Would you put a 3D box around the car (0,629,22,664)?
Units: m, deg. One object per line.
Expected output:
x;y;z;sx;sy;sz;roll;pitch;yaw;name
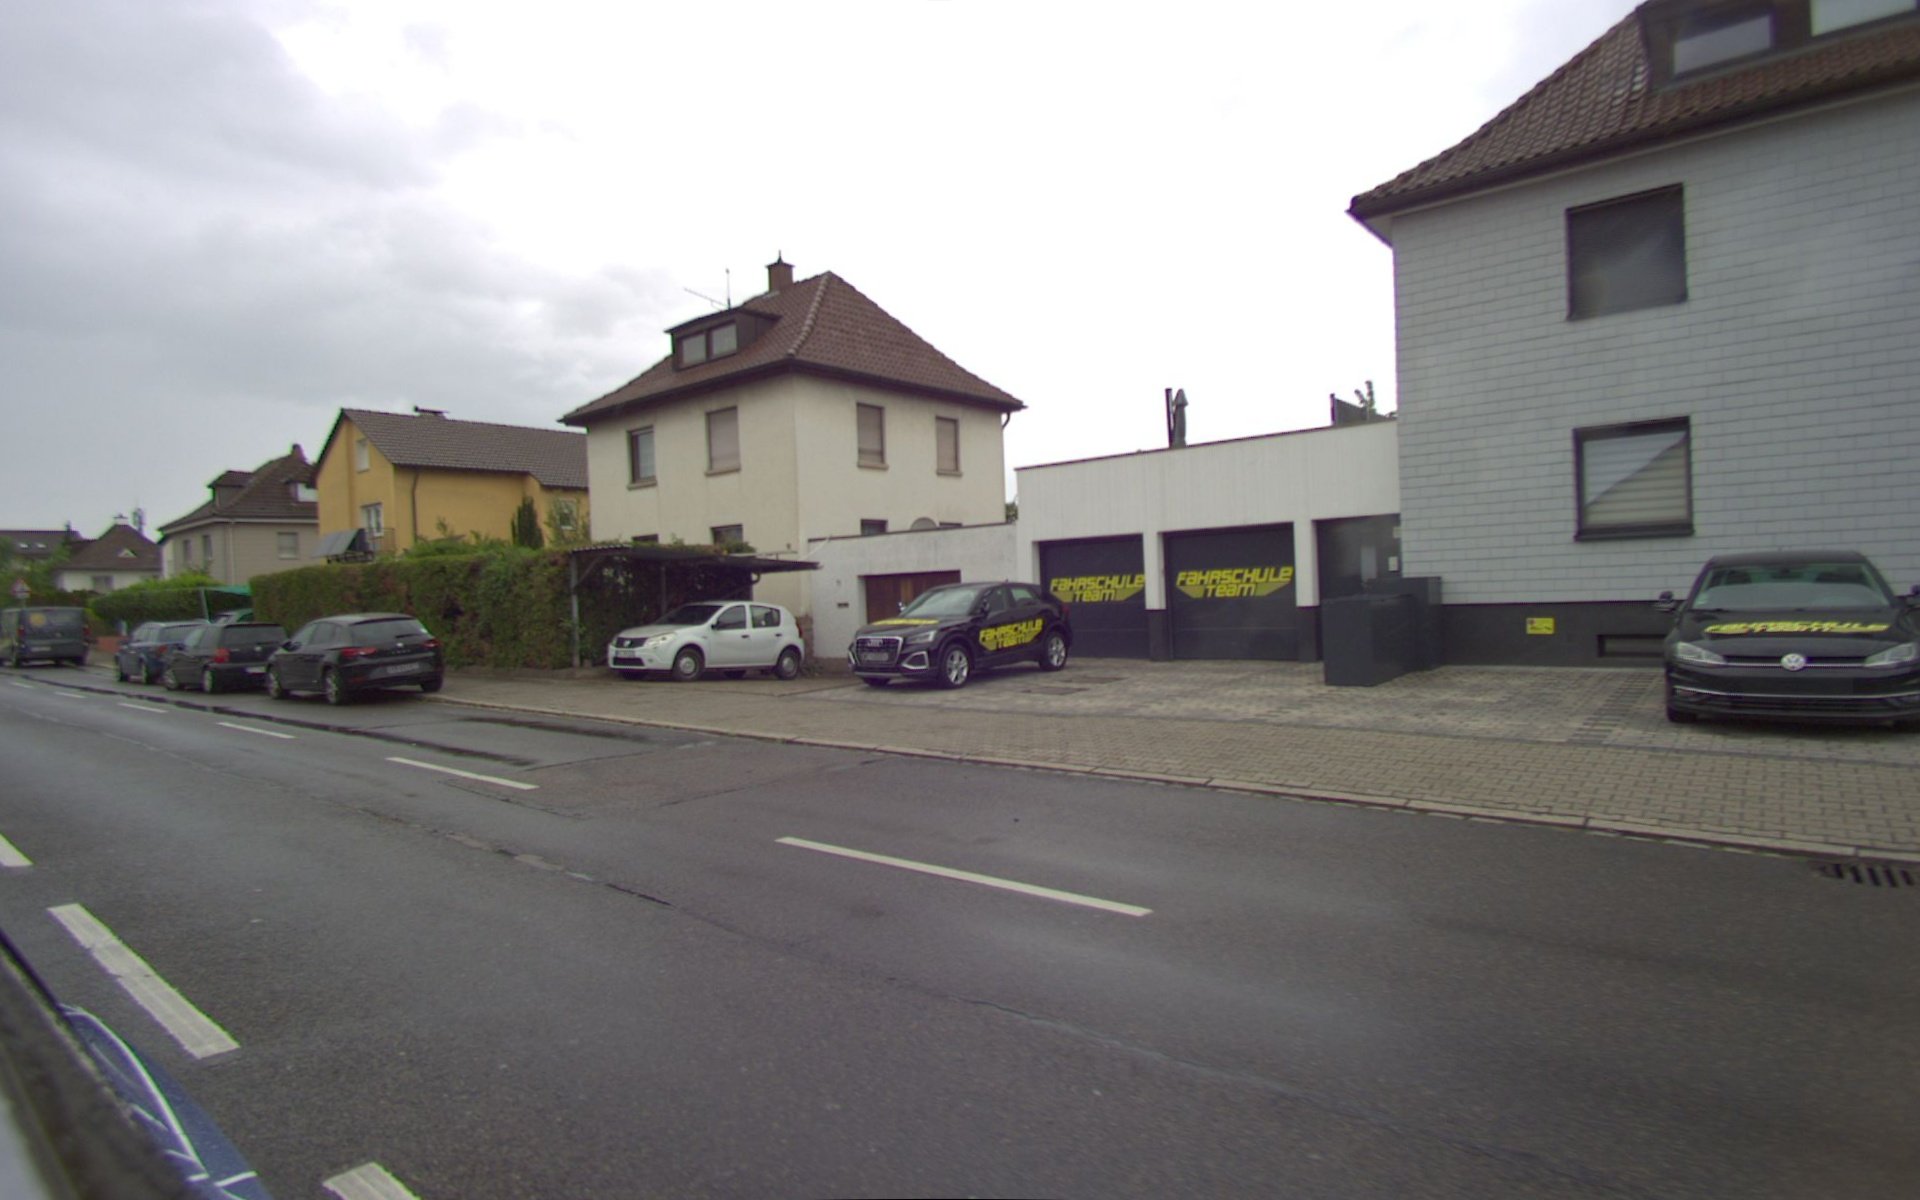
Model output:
-42.542;2.020;44.190;3.996;1.497;1.865;-2;-1;40;car

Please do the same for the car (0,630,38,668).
-39.159;1.977;41.283;3.998;1.497;1.864;-2;-1;41;car

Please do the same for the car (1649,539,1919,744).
7.695;0.230;9.235;1.883;1.430;3.947;-2;2;41;car

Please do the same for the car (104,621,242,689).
-19.398;1.301;24.888;3.994;1.525;1.787;-1;-1;38;car

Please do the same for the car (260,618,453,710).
-10.697;1.053;17.824;3.998;1.426;1.786;-2;-1;41;car

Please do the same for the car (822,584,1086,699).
0.028;0.554;15.775;1.883;1.430;4.057;-2;1;41;car

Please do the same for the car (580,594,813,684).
-4.849;0.809;19.169;1.835;1.495;4.065;-2;-5;34;car

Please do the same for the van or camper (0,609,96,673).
-31.570;1.336;34.670;5.130;2.029;2.162;-1;0;40;van or camper

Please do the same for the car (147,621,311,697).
-15.479;1.182;21.357;3.994;1.426;1.787;-1;-1;38;car
